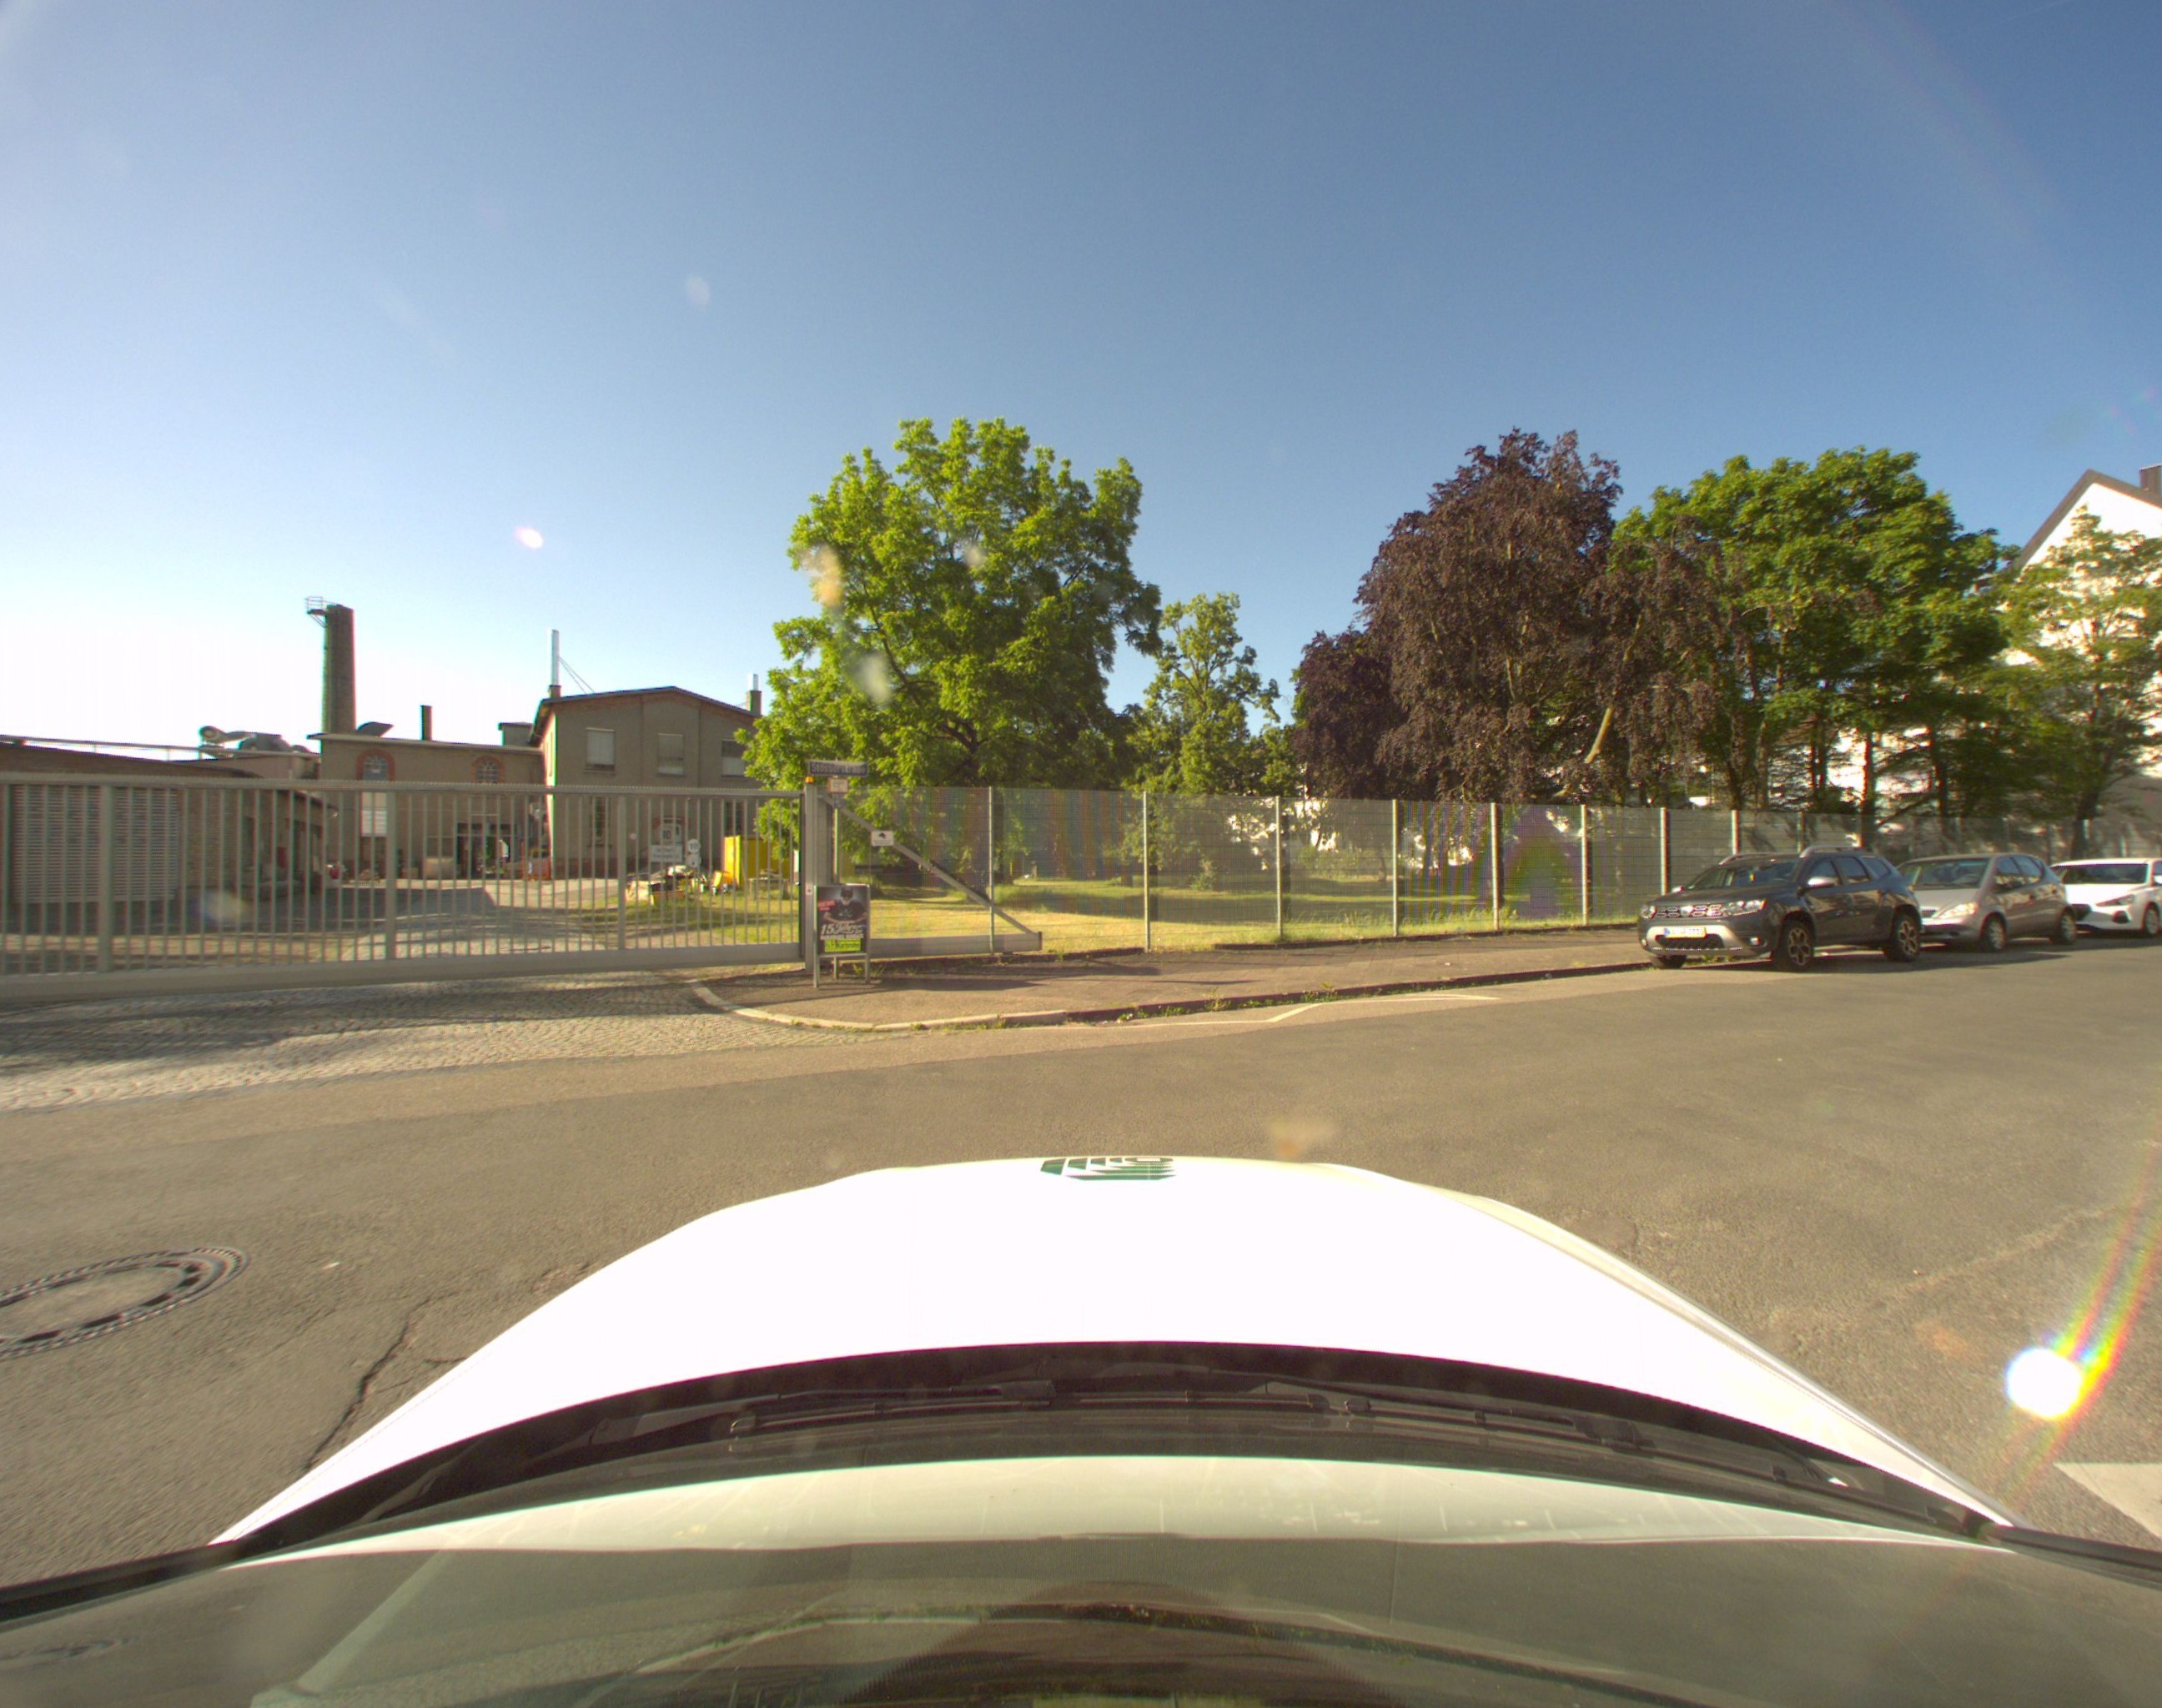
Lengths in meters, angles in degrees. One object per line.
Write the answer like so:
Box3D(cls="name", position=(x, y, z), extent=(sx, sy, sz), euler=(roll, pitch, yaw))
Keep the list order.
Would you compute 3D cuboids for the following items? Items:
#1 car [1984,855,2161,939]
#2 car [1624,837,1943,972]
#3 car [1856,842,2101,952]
Box3D(cls="car", position=(19.691, 0.781, 15.640), extent=(4.122, 1.445, 1.786), euler=(0, -3, -22))
Box3D(cls="car", position=(10.045, 0.689, 11.654), extent=(4.168, 1.664, 1.704), euler=(0, -4, -23))
Box3D(cls="car", position=(15.022, 0.706, 13.642), extent=(3.619, 1.644, 1.556), euler=(0, -5, -23))
